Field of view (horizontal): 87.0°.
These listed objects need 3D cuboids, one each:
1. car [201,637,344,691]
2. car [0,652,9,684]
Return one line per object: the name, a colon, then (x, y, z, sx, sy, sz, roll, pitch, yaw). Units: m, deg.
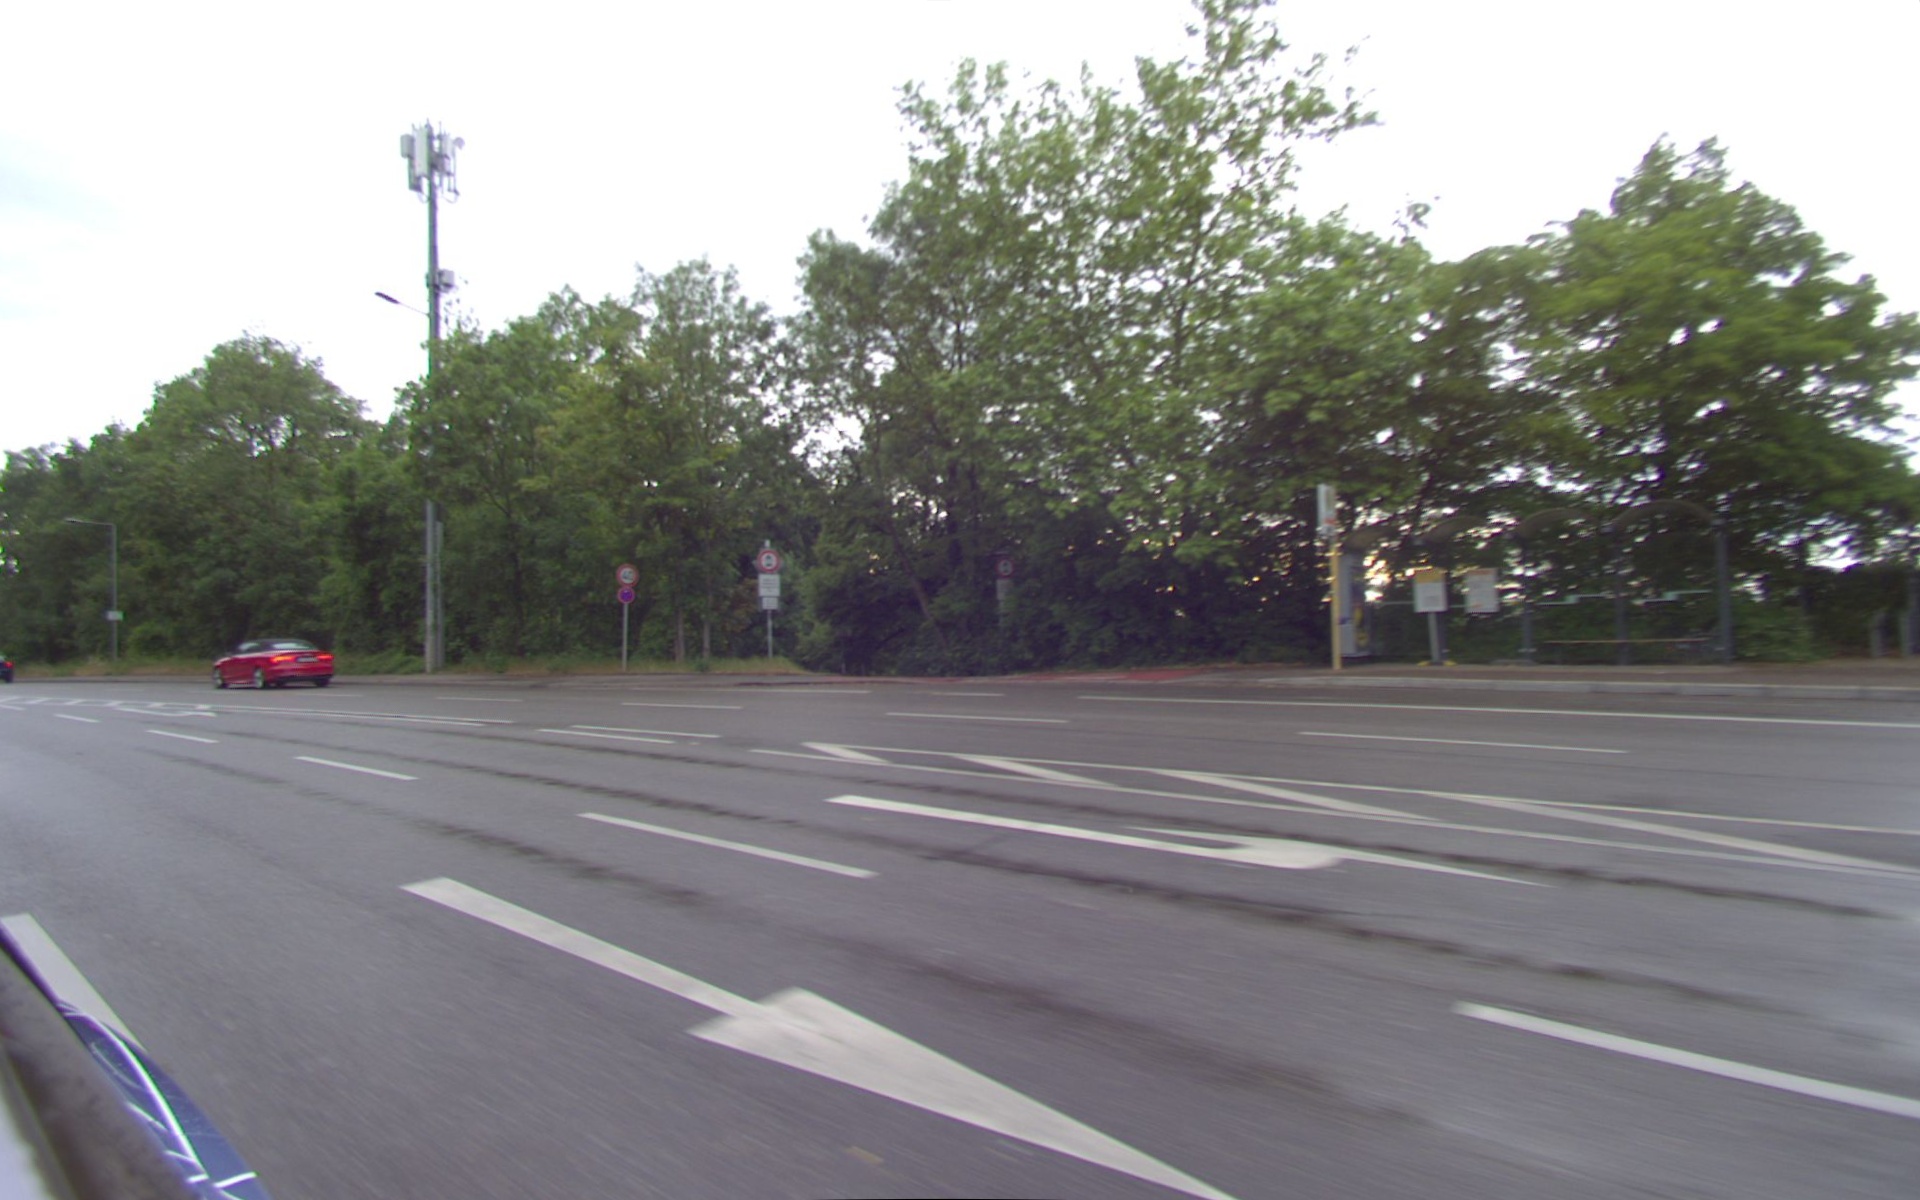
car: (-19.729, 1.825, 28.982, 4.371, 1.384, 1.860, -3, -2, 33)
car: (-44.256, 3.048, 45.286, 3.988, 1.405, 1.618, -2, -3, 33)
